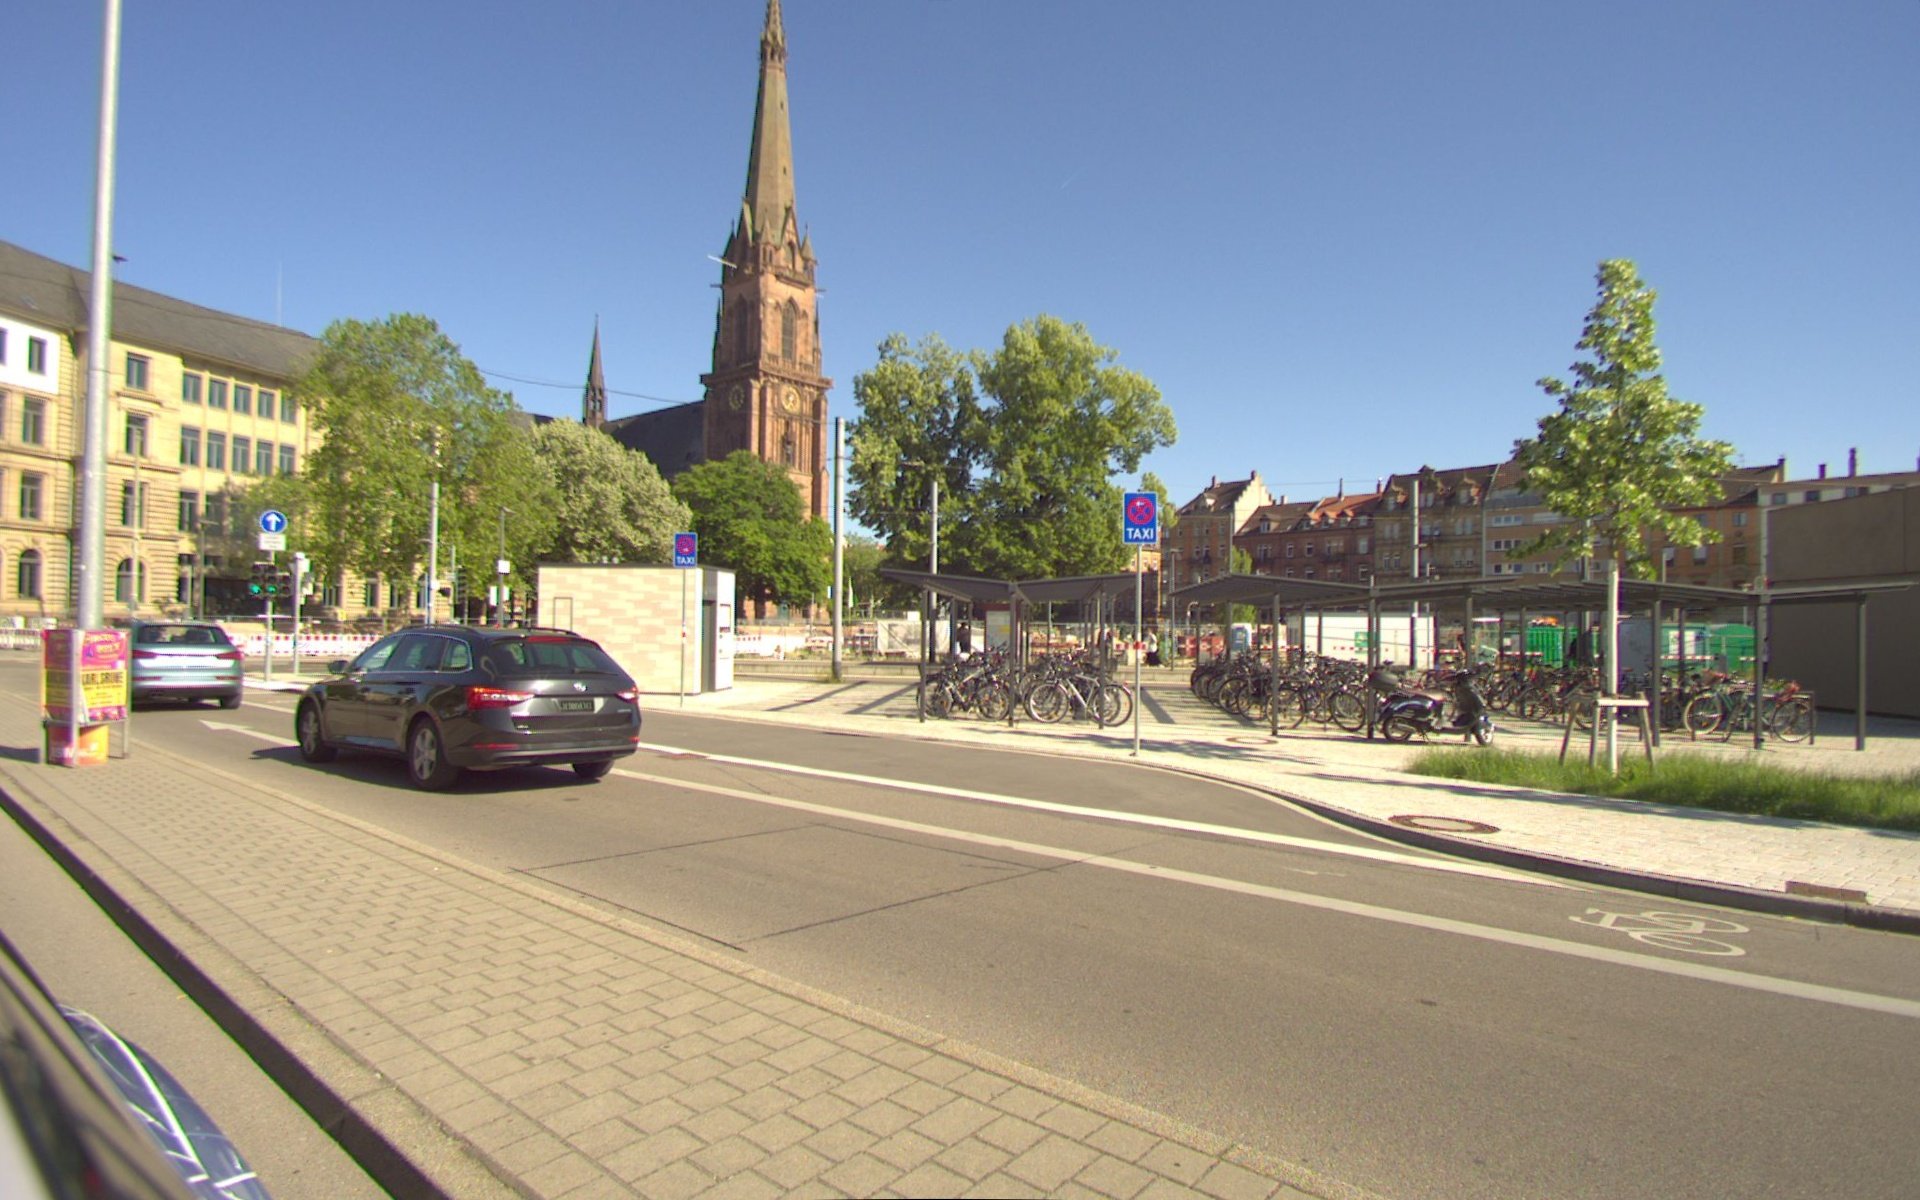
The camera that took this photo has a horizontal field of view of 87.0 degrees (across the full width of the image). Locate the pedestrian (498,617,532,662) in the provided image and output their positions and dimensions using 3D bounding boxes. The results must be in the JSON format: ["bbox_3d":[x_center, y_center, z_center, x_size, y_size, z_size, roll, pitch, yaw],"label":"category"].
[{"bbox_3d":[-17.911,1.591,40.755,0.802,1.793,0.965,-1,-2,40],"label":"pedestrian"}]

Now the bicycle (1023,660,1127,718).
[{"bbox_3d":[2.132,1.643,18.745,1.882,1.016,0.456,0,-2,8],"label":"bicycle"}]

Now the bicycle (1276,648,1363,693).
[{"bbox_3d":[8.482,1.650,23.912,1.882,1.016,0.456,0,-2,8],"label":"bicycle"}]

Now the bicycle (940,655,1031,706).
[{"bbox_3d":[0.539,1.673,21.228,1.882,1.016,0.456,0,-2,8],"label":"bicycle"}]

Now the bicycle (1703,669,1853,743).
[{"bbox_3d":[13.077,1.682,16.208,1.882,1.106,0.456,0,-2,8],"label":"bicycle"}]

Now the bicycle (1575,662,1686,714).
[{"bbox_3d":[13.869,1.816,20.973,1.882,1.016,0.456,0,-2,8],"label":"bicycle"}]

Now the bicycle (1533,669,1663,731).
[{"bbox_3d":[11.096,1.730,17.643,1.882,1.016,0.456,0,-2,8],"label":"bicycle"}]

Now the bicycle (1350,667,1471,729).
[{"bbox_3d":[7.890,1.706,17.765,1.882,1.016,0.456,0,-2,8],"label":"bicycle"}]

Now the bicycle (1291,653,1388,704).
[{"bbox_3d":[8.052,1.658,21.521,1.882,1.016,0.456,0,-2,8],"label":"bicycle"}]

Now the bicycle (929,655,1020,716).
[{"bbox_3d":[0.276,1.574,18.778,1.652,1.069,0.456,0,-2,8],"label":"bicycle"}]

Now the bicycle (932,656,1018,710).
[{"bbox_3d":[0.301,1.618,19.890,1.652,1.016,0.456,0,-2,8],"label":"bicycle"}]

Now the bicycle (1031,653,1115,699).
[{"bbox_3d":[2.601,1.745,23.305,1.882,1.016,0.456,0,-2,8],"label":"bicycle"}]

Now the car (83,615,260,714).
[{"bbox_3d":[-14.155,1.093,18.087,4.241,1.554,1.835,-1,-4,44],"label":"car"}]

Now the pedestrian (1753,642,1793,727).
[{"bbox_3d":[19.978,2.061,24.868,0.718,2.029,0.678,-1,-4,41],"label":"pedestrian"}]

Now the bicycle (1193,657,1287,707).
[{"bbox_3d":[5.961,1.744,21.611,1.882,1.016,0.456,0,-2,8],"label":"bicycle"}]

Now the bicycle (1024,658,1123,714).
[{"bbox_3d":[2.192,1.657,19.586,1.882,1.016,0.456,0,-2,8],"label":"bicycle"}]

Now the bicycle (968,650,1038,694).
[{"bbox_3d":[1.037,1.712,24.228,1.652,1.016,0.456,0,-2,8],"label":"bicycle"}]

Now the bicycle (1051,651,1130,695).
[{"bbox_3d":[3.157,1.774,24.601,1.882,1.016,0.456,0,-2,8],"label":"bicycle"}]

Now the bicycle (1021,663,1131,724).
[{"bbox_3d":[2.015,1.622,17.675,1.882,1.016,0.456,0,-2,8],"label":"bicycle"}]

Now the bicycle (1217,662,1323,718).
[{"bbox_3d":[5.893,1.706,19.325,1.882,1.016,0.456,0,-2,8],"label":"bicycle"}]

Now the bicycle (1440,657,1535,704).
[{"bbox_3d":[12.074,1.833,23.196,1.882,1.016,0.456,0,-2,8],"label":"bicycle"}]

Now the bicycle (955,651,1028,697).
[{"bbox_3d":[0.742,1.707,23.483,1.652,1.016,0.456,0,-2,8],"label":"bicycle"}]

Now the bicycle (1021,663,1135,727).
[{"bbox_3d":[1.985,1.600,17.115,1.882,1.016,0.456,0,-2,8],"label":"bicycle"}]

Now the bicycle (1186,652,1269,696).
[{"bbox_3d":[6.389,1.760,24.227,1.882,1.016,0.456,0,-2,8],"label":"bicycle"}]

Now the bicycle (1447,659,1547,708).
[{"bbox_3d":[11.779,1.822,22.245,1.882,1.016,0.456,0,-2,8],"label":"bicycle"}]

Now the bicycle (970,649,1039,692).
[{"bbox_3d":[1.102,1.727,24.944,1.652,1.016,0.456,0,-2,8],"label":"bicycle"}]

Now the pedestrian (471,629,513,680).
[{"bbox_3d":[-16.894,1.948,36.547,1.130,1.793,0.965,-1,-2,40],"label":"pedestrian"}]

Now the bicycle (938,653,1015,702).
[{"bbox_3d":[0.367,1.688,22.226,1.652,1.016,0.456,0,-2,8],"label":"bicycle"}]

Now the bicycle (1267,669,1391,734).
[{"bbox_3d":[6.117,1.680,16.841,1.882,1.016,0.456,0,-2,8],"label":"bicycle"}]

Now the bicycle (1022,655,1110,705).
[{"bbox_3d":[2.293,1.720,21.922,1.882,1.016,0.456,0,-2,8],"label":"bicycle"}]

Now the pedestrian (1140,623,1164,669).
[{"bbox_3d":[7.722,1.843,40.733,0.792,1.793,0.977,0,-2,3],"label":"pedestrian"}]

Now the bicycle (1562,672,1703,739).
[{"bbox_3d":[10.968,1.715,16.539,1.882,1.016,0.456,0,-2,8],"label":"bicycle"}]

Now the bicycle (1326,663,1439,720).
[{"bbox_3d":[7.914,1.710,18.998,1.882,1.016,0.456,0,-2,8],"label":"bicycle"}]

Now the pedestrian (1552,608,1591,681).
[{"bbox_3d":[15.671,1.132,25.947,0.676,1.848,0.564,0,-2,8],"label":"pedestrian"}]

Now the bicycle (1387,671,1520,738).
[{"bbox_3d":[8.024,1.689,16.495,1.882,1.016,0.456,0,-2,8],"label":"bicycle"}]

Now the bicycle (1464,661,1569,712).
[{"bbox_3d":[11.710,1.812,21.315,1.882,1.016,0.456,0,-2,8],"label":"bicycle"}]

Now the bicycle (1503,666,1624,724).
[{"bbox_3d":[11.160,1.754,18.759,1.882,1.016,0.456,0,-2,8],"label":"bicycle"}]

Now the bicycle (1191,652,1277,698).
[{"bbox_3d":[6.361,1.729,23.569,1.882,1.016,0.456,0,-2,8],"label":"bicycle"}]

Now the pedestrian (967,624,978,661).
[{"bbox_3d":[0.581,1.991,47.618,0.399,1.734,0.419,1,-2,-11],"label":"pedestrian"}]

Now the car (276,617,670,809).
[{"bbox_3d":[-5.031,0.964,10.159,4.571,1.511,1.771,-1,-3,39],"label":"car"}]

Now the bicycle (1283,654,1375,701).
[{"bbox_3d":[8.311,1.733,22.820,1.882,1.016,0.456,0,-2,8],"label":"bicycle"}]

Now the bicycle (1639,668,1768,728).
[{"bbox_3d":[13.465,1.774,18.366,1.882,1.016,0.456,0,-2,8],"label":"bicycle"}]

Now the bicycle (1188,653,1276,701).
[{"bbox_3d":[6.144,1.735,22.945,1.882,1.016,0.456,0,-2,8],"label":"bicycle"}]

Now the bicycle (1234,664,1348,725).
[{"bbox_3d":[5.895,1.681,18.094,1.882,1.016,0.456,0,-2,8],"label":"bicycle"}]

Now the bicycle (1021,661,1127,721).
[{"bbox_3d":[2.050,1.631,18.263,1.882,1.016,0.456,0,-2,8],"label":"bicycle"}]

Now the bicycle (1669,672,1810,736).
[{"bbox_3d":[13.124,1.741,17.067,1.882,1.016,0.456,0,-2,8],"label":"bicycle"}]

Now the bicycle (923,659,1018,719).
[{"bbox_3d":[0.197,1.583,18.192,1.652,1.016,0.456,0,-2,8],"label":"bicycle"}]

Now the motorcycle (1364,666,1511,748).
[{"bbox_3d":[7.157,1.600,15.227,1.924,1.160,0.516,0,-2,6],"label":"motorcycle"}]
